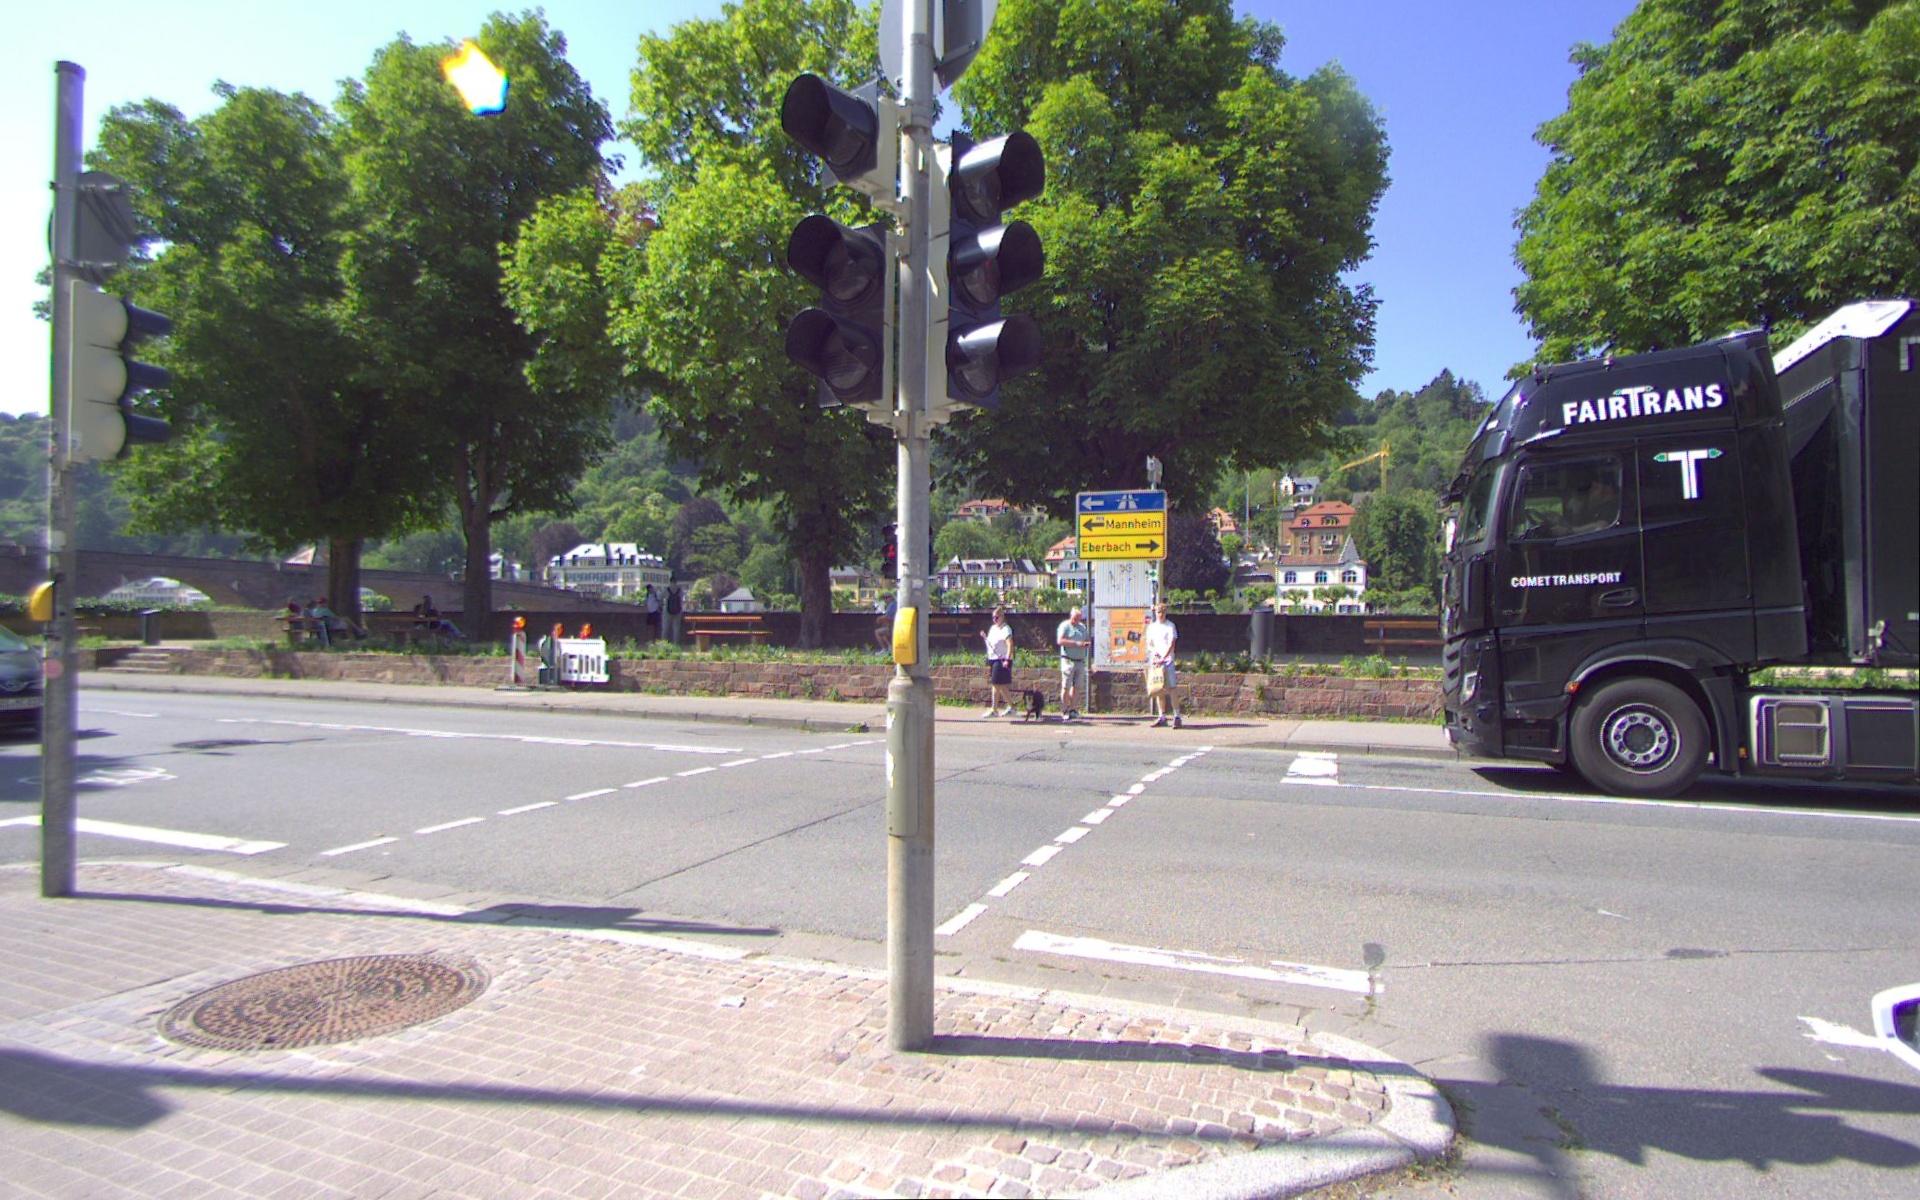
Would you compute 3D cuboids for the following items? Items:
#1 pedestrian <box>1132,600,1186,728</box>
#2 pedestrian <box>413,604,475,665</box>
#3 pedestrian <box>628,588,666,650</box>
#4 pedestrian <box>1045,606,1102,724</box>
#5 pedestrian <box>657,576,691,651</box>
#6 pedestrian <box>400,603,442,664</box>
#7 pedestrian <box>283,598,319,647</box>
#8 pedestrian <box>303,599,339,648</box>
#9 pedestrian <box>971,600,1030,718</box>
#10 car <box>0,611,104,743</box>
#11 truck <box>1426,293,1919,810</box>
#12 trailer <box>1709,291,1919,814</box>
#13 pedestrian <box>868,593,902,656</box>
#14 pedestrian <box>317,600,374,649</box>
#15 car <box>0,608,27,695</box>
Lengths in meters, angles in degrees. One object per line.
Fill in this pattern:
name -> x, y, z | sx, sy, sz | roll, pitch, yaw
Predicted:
pedestrian -> 2.916, 0.918, 14.721 | 0.691, 1.825, 0.580 | 0, -2, 19
pedestrian -> -13.039, 0.881, 25.414 | 0.460, 1.499, 1.384 | 0, -2, 25
pedestrian -> -9.104, 0.565, 29.254 | 0.696, 1.754, 0.757 | 1, -2, 17
pedestrian -> 1.763, 1.001, 15.654 | 0.705, 1.793, 0.689 | 1, -2, -11
pedestrian -> -7.377, 0.355, 25.881 | 0.753, 1.882, 0.754 | 2, -2, -17
pedestrian -> -13.630, 0.852, 25.414 | 0.460, 1.512, 0.804 | 0, -2, 25
pedestrian -> -17.861, 0.616, 27.232 | 0.460, 1.287, 0.631 | 0, -2, 26
pedestrian -> -17.076, 0.637, 26.858 | 0.460, 1.287, 0.631 | 0, -2, 26
pedestrian -> 0.647, 0.923, 16.057 | 0.712, 1.826, 0.632 | 0, -1, 36
car -> -12.739, 0.886, 12.350 | 3.805, 1.518, 1.728 | 0, -2, 21
truck -> 7.720, -0.313, 9.457 | 5.816, 4.124, 2.840 | 0, -3, 21
trailer -> 13.906, -0.332, 7.060 | 13.503, 4.157, 2.843 | 0, -3, 21
pedestrian -> -1.527, 0.506, 20.494 | 0.630, 1.244, 0.414 | -1, -3, 2
pedestrian -> -16.457, 0.662, 26.914 | 0.460, 1.287, 1.223 | 0, -2, 25
car -> -21.892, 0.963, 20.797 | 4.322, 1.776, 1.845 | 1, -4, 19
